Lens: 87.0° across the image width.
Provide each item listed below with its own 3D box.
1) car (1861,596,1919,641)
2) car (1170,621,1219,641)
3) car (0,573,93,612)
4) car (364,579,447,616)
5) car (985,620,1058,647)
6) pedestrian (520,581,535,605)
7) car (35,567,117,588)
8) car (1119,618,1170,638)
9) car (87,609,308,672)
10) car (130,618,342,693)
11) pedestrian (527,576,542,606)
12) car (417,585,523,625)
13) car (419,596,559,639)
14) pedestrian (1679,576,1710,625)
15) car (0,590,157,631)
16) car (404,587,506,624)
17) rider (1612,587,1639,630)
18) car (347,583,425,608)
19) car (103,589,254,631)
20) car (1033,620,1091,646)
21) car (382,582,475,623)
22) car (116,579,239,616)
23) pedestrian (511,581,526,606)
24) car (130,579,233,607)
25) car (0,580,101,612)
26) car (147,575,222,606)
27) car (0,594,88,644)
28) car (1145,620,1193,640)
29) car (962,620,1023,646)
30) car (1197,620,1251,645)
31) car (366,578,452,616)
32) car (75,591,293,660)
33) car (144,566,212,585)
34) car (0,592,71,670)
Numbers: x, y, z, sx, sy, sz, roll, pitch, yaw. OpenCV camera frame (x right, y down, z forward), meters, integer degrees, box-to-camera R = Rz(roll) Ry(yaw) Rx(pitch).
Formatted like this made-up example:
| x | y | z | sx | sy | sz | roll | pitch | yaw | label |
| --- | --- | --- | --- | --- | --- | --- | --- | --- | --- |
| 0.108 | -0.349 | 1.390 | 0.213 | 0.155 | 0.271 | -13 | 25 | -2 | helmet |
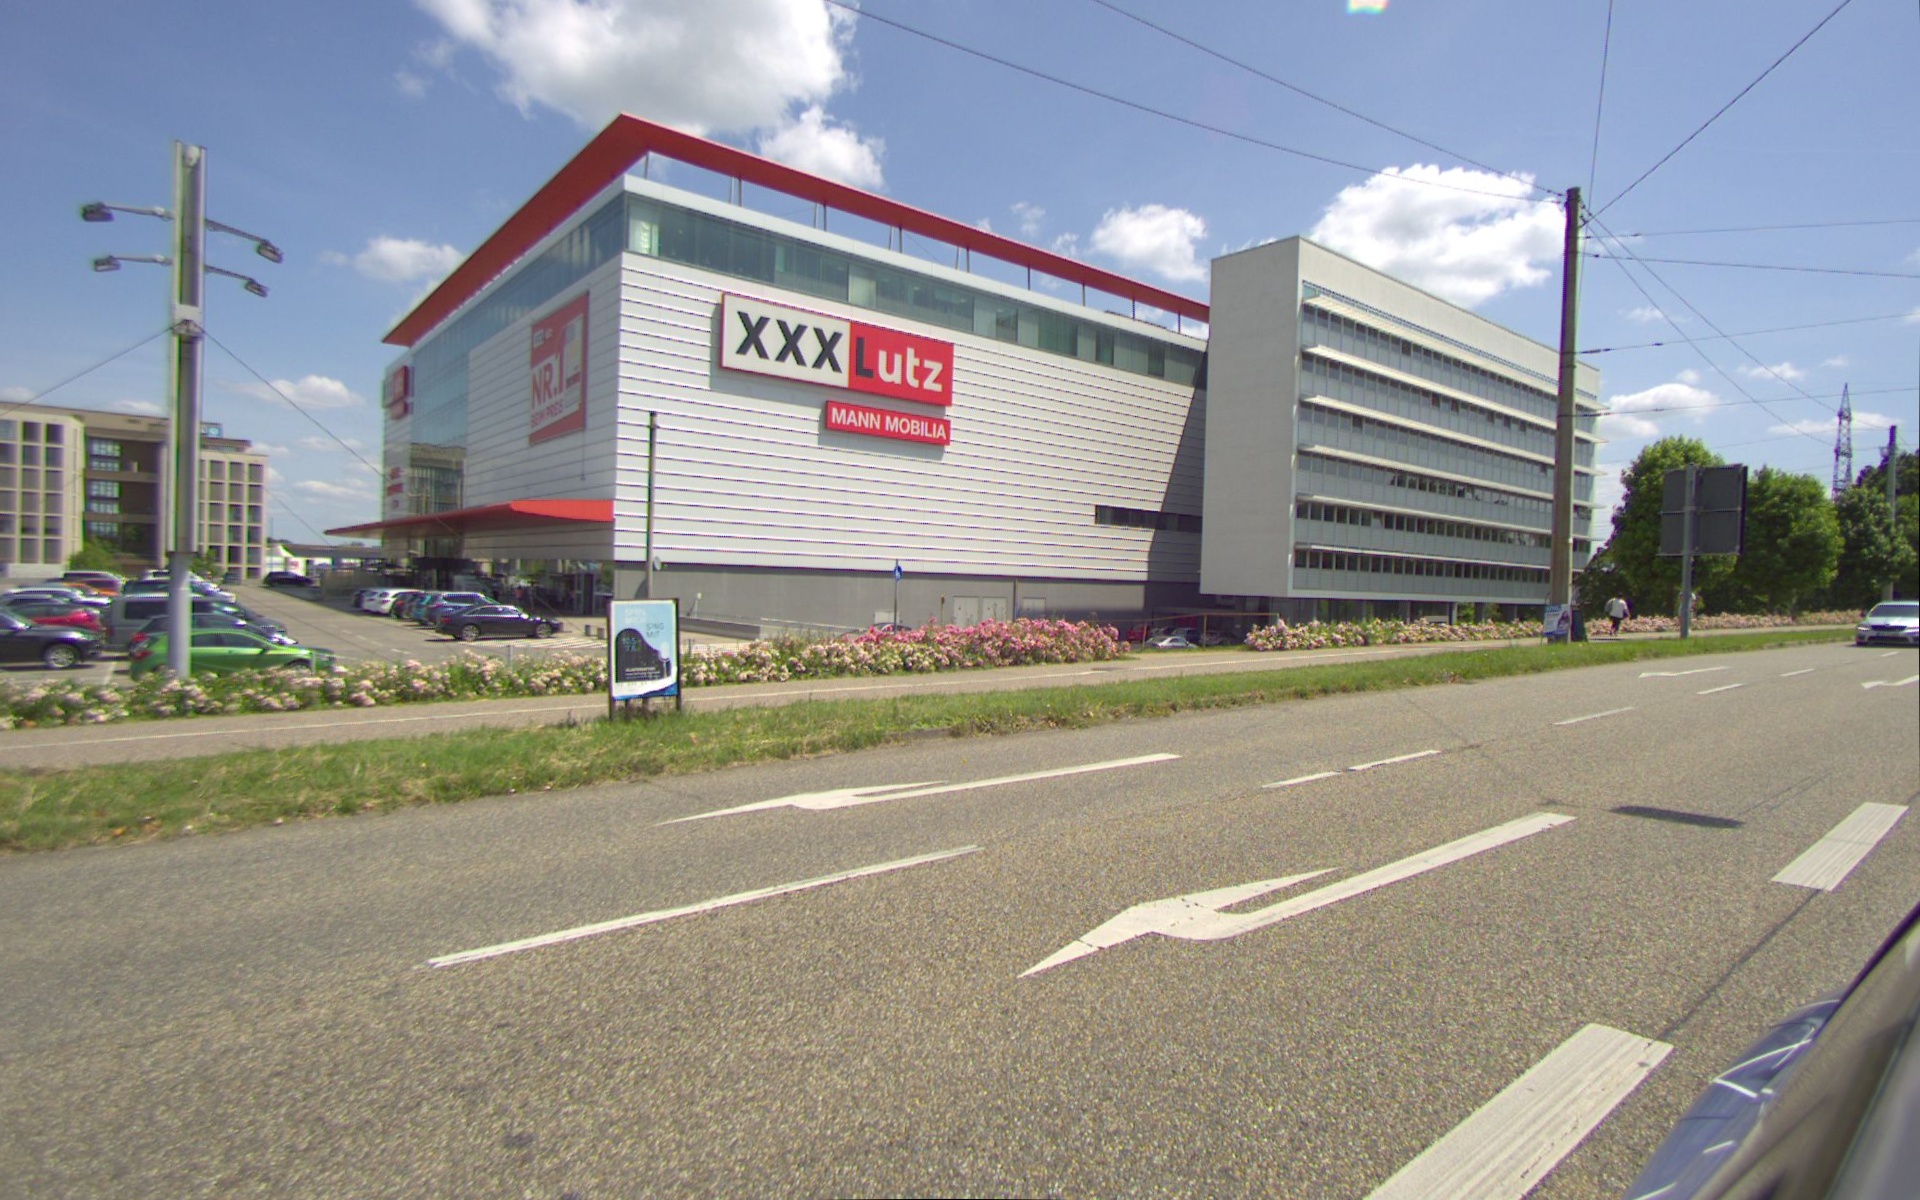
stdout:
| x | y | z | sx | sy | sz | roll | pitch | yaw | label |
| --- | --- | --- | --- | --- | --- | --- | --- | --- | --- |
| 30.556 | 0.545 | 32.519 | 3.929 | 1.355 | 1.895 | 0 | 0 | -40 | car |
| 17.760 | 2.337 | 76.601 | 3.930 | 1.338 | 1.607 | -1 | 1 | -41 | car |
| -49.424 | -0.436 | 54.677 | 3.930 | 2.039 | 1.997 | 0 | 1 | -41 | car |
| -32.251 | -0.176 | 58.871 | 3.930 | 2.039 | 1.997 | -1 | 1 | -41 | car |
| 4.195 | 2.232 | 68.711 | 5.057 | 1.632 | 1.997 | -1 | 1 | -41 | car |
| -27.895 | -0.462 | 65.305 | 0.723 | 1.577 | 0.741 | 0 | 0 | -42 | pedestrian |
| -70.600 | -1.750 | 80.943 | 4.913 | 1.631 | 1.997 | 0 | 0 | -41 | car |
| 14.673 | 2.218 | 80.556 | 3.930 | 1.465 | 1.997 | -1 | 1 | -41 | car |
| -21.585 | 1.072 | 28.802 | 4.913 | 1.570 | 1.997 | 0 | 0 | -41 | car |
| -18.254 | 1.328 | 25.610 | 4.227 | 1.514 | 1.998 | 0 | 4 | -41 | car |
| -27.914 | -0.590 | 66.413 | 0.723 | 1.893 | 0.741 | 0 | 0 | -42 | pedestrian |
| -23.497 | 0.227 | 48.593 | 4.257 | 1.804 | 1.997 | 0 | -1 | -41 | car |
| -19.389 | 0.663 | 41.763 | 4.913 | 1.631 | 1.997 | 0 | 0 | -41 | car |
| 28.507 | 0.022 | 39.285 | 0.914 | 1.872 | 0.758 | 0 | 0 | -38 | pedestrian |
| -37.004 | 0.398 | 42.637 | 4.915 | 1.631 | 1.996 | 0 | 0 | -42 | car |
| -25.380 | 0.258 | 50.901 | 4.257 | 1.804 | 1.997 | 0 | -1 | -41 | car |
| 23.061 | 0.298 | 35.075 | 0.607 | 1.476 | 0.670 | 0 | 0 | -41 | rider |
| -35.990 | -0.291 | 63.500 | 3.930 | 1.505 | 1.997 | 0 | 0 | -41 | car |
| -32.716 | 0.389 | 42.447 | 4.913 | 1.671 | 1.997 | 0 | 0 | -41 | car |
| 7.355 | 2.339 | 72.756 | 3.930 | 1.632 | 1.997 | -1 | 1 | -41 | car |
| -27.476 | 0.066 | 52.339 | 3.930 | 2.039 | 1.997 | -1 | 1 | -41 | car |
| -41.642 | -0.160 | 53.934 | 5.094 | 1.888 | 1.996 | 0 | 0 | -43 | car |
| -28.690 | -0.419 | 65.736 | 0.723 | 1.577 | 0.741 | 0 | 0 | -42 | pedestrian |
| -47.659 | -0.420 | 61.992 | 4.913 | 1.631 | 1.997 | 0 | 0 | -41 | car |
| -47.962 | -0.218 | 52.665 | 4.913 | 1.631 | 1.997 | 0 | 0 | -41 | car |
| -52.663 | -0.638 | 68.771 | 3.930 | 2.039 | 1.997 | -1 | 1 | -41 | car |
| -33.547 | 0.654 | 35.142 | 4.913 | 1.630 | 1.997 | 0 | 2 | -41 | car |
| 16.218 | 2.285 | 78.376 | 3.930 | 1.403 | 1.646 | -1 | 1 | -41 | car |
| 2.272 | 2.282 | 70.307 | 3.930 | 1.632 | 1.997 | -1 | 1 | -41 | car |
| 19.523 | 2.361 | 74.746 | 3.930 | 1.632 | 1.997 | -1 | 1 | -41 | car |
| -30.816 | -0.180 | 56.644 | 3.930 | 2.039 | 1.997 | 0 | 0 | -41 | car |
| -24.733 | 0.721 | 32.445 | 5.437 | 2.039 | 1.997 | 0 | 0 | -41 | car |
| -71.830 | -2.234 | 92.997 | 4.913 | 1.631 | 1.997 | 0 | 0 | -41 | car |
| -27.261 | 0.834 | 27.283 | 4.913 | 2.038 | 1.998 | 0 | 2 | -41 | car |
